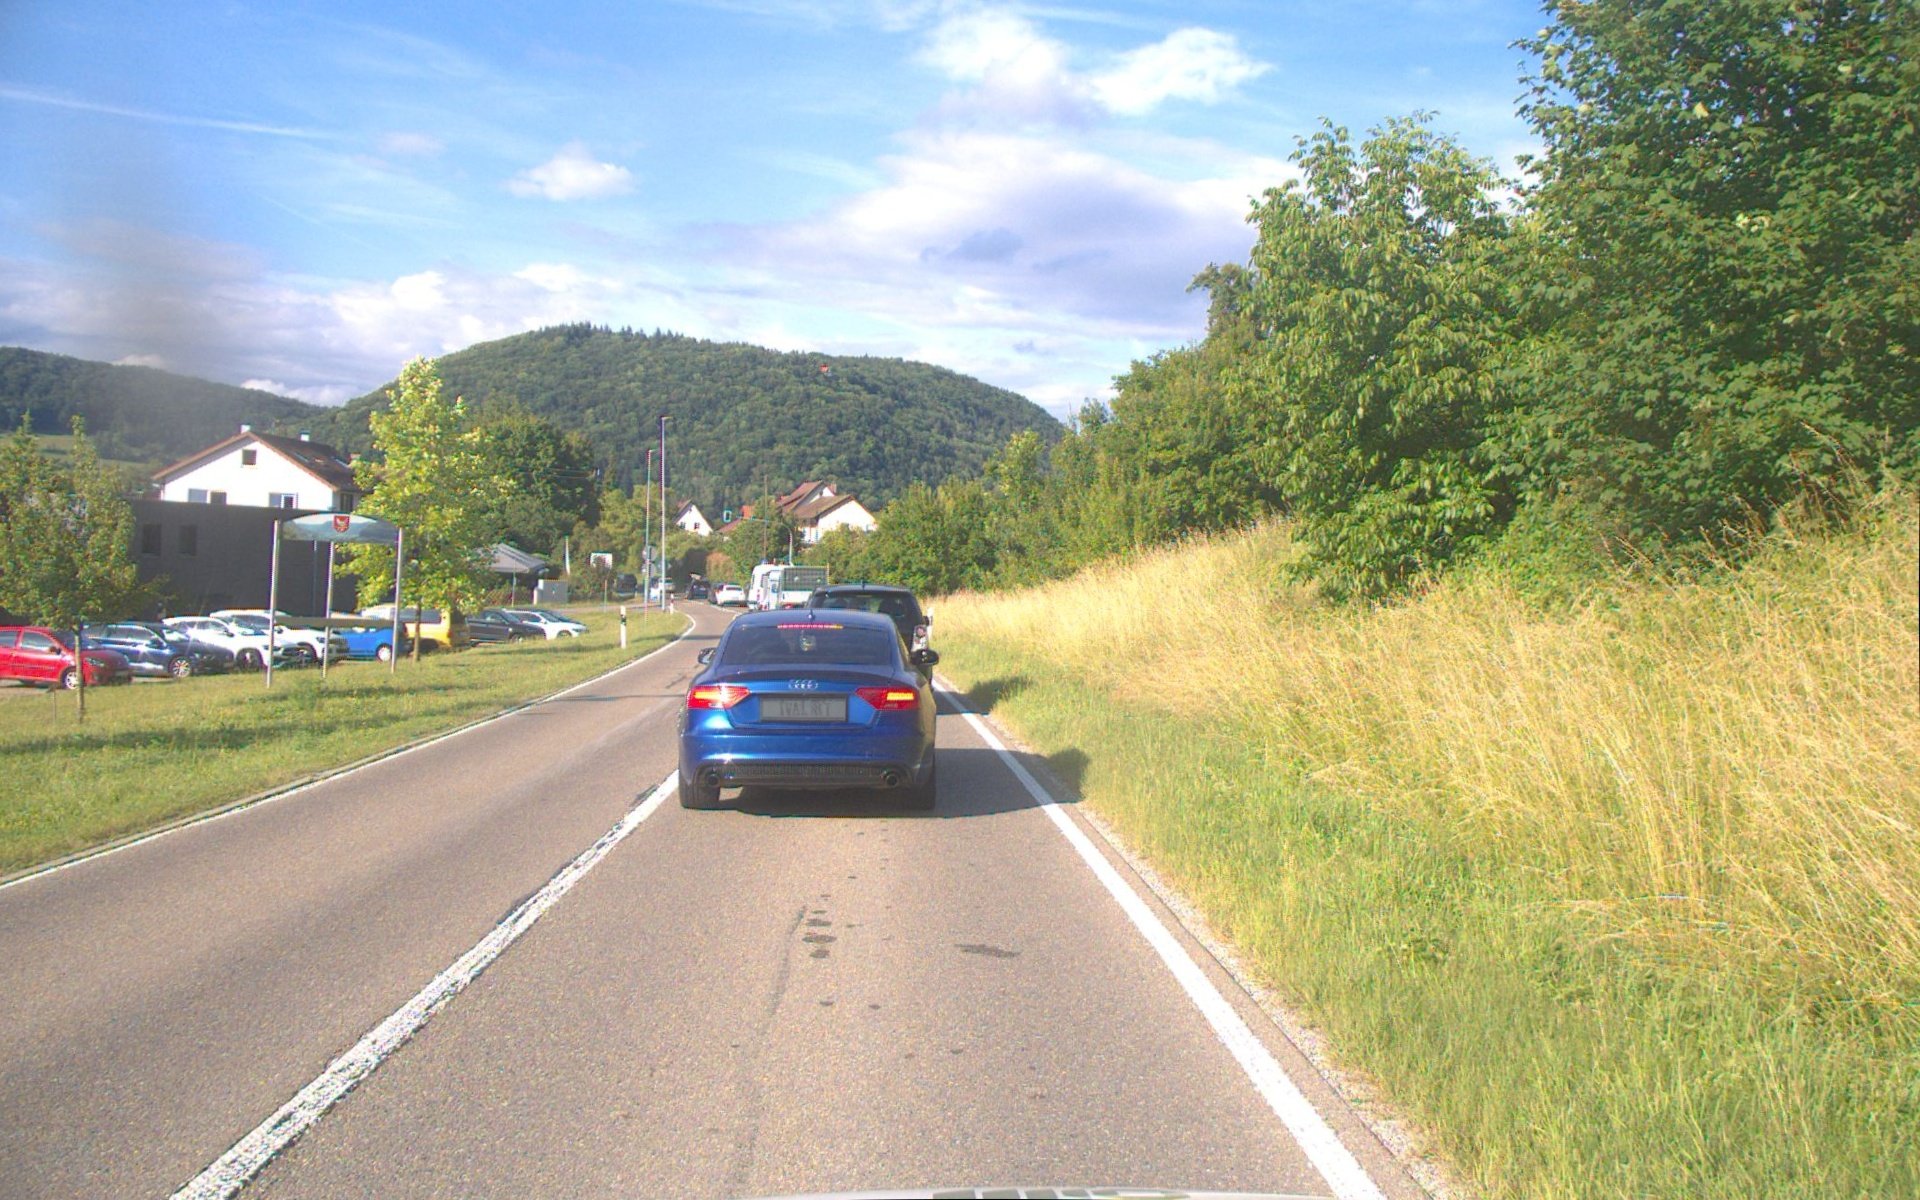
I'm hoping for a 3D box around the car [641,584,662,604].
[{"bbox_3d":[-31.029,-0.560,166.309,1.651,1.958,3.980,0,0,-18],"label":"car"}]

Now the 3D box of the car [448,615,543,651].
[{"bbox_3d":[-20.013,1.425,71.322,3.633,1.465,1.510,-1,0,7],"label":"car"}]

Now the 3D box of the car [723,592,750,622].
[{"bbox_3d":[-15.146,0.463,112.054,1.630,1.958,3.990,0,0,-11],"label":"car"}]

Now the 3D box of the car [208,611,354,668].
[{"bbox_3d":[-21.573,1.254,52.599,3.990,1.702,1.598,-1,0,7],"label":"car"}]

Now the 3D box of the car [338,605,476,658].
[{"bbox_3d":[-20.446,1.143,61.198,4.456,1.846,1.842,-1,0,7],"label":"car"}]

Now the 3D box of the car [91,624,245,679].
[{"bbox_3d":[-22.053,1.430,46.110,3.547,1.429,1.598,-1,0,7],"label":"car"}]

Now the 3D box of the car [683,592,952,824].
[{"bbox_3d":[-0.992,0.695,12.327,1.707,1.476,3.515,0,0,-3],"label":"car"}]

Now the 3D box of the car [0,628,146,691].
[{"bbox_3d":[-22.423,1.464,41.159,3.547,1.469,1.649,-1,0,7],"label":"car"}]

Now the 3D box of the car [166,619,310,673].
[{"bbox_3d":[-21.502,1.354,49.327,3.588,1.520,1.598,-1,0,7],"label":"car"}]

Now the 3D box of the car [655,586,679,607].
[{"bbox_3d":[-28.023,-0.369,157.945,1.651,1.958,3.978,0,0,-19],"label":"car"}]

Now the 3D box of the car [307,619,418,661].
[{"bbox_3d":[-21.174,1.412,58.657,3.300,1.397,1.660,-1,0,-1],"label":"car"}]

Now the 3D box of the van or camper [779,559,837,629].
[{"bbox_3d":[-5.902,-0.204,63.624,2.013,2.549,5.801,0,0,-7],"label":"van or camper"}]

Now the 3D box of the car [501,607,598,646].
[{"bbox_3d":[-18.775,1.208,75.668,3.950,1.689,1.657,-1,0,7],"label":"car"}]

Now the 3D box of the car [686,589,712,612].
[{"bbox_3d":[-22.177,0.058,140.395,1.650,1.958,3.981,0,0,-17],"label":"car"}]

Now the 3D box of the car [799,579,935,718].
[{"bbox_3d":[-1.296,0.587,21.896,1.614,1.653,3.513,2,0,-5],"label":"car"}]

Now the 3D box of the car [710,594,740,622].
[{"bbox_3d":[-16.984,0.595,119.420,1.632,1.958,3.984,0,0,-15],"label":"car"}]

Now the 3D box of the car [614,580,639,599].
[{"bbox_3d":[-36.277,-1.144,179.707,1.928,1.958,3.972,0,0,-22],"label":"car"}]

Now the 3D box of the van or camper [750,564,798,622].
[{"bbox_3d":[-9.370,-0.329,83.068,2.238,2.761,5.756,0,0,-8],"label":"van or camper"}]
